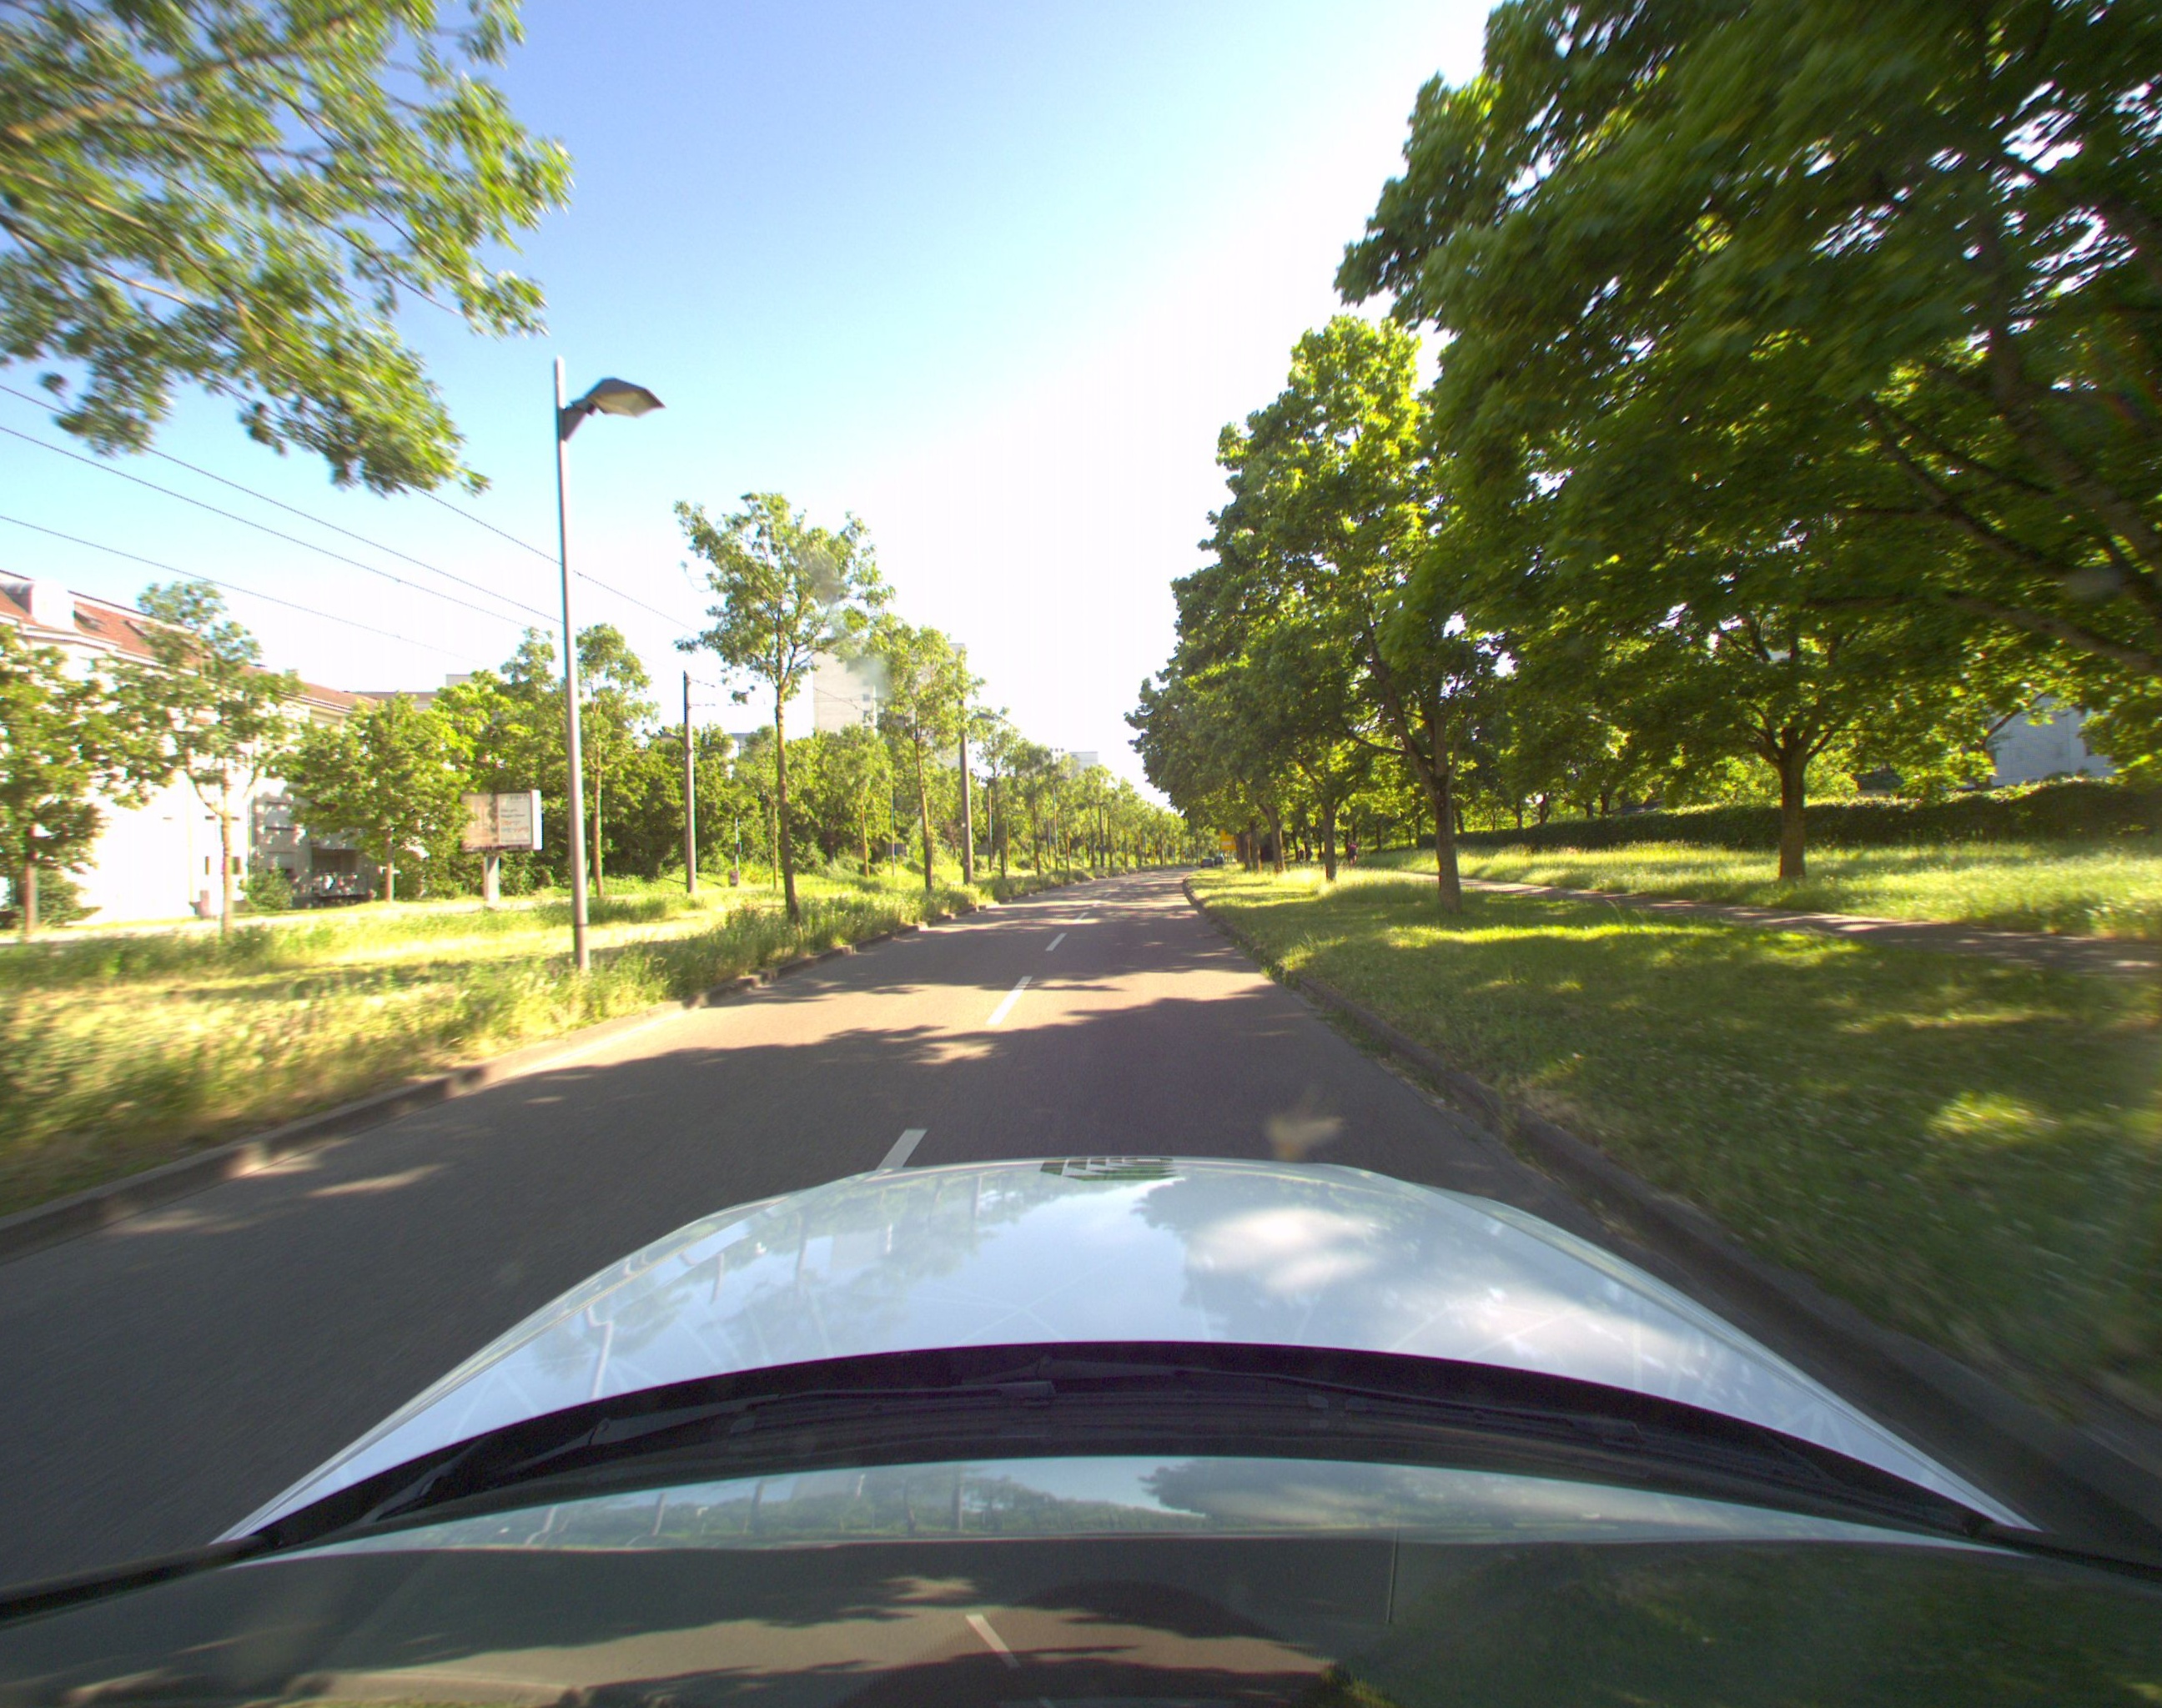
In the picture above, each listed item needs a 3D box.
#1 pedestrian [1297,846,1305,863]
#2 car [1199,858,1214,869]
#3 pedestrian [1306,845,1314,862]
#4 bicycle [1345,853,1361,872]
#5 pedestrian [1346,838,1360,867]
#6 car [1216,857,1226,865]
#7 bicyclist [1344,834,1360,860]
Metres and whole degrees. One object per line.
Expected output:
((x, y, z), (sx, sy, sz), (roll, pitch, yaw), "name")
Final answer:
((22.130, 0.060, 81.864), (0.542, 1.622, 0.848), (-3, -1, 22), "pedestrian")
((18.010, 1.370, 116.697), (1.622, 1.498, 4.251), (-1, -1, 14), "car")
((22.898, -0.034, 81.490), (0.630, 1.692, 0.848), (-3, -1, 22), "pedestrian")
((15.473, 0.487, 46.415), (0.788, 1.047, 2.152), (-3, -1, 17), "bicycle")
((17.300, -0.098, 51.792), (0.711, 1.803, 0.796), (-2, -1, 9), "pedestrian")
((27.534, 1.433, 160.006), (1.622, 1.498, 4.251), (-2, -1, 14), "car")
((15.422, -0.399, 46.408), (0.783, 1.450, 0.849), (-3, -1, 17), "bicyclist")
